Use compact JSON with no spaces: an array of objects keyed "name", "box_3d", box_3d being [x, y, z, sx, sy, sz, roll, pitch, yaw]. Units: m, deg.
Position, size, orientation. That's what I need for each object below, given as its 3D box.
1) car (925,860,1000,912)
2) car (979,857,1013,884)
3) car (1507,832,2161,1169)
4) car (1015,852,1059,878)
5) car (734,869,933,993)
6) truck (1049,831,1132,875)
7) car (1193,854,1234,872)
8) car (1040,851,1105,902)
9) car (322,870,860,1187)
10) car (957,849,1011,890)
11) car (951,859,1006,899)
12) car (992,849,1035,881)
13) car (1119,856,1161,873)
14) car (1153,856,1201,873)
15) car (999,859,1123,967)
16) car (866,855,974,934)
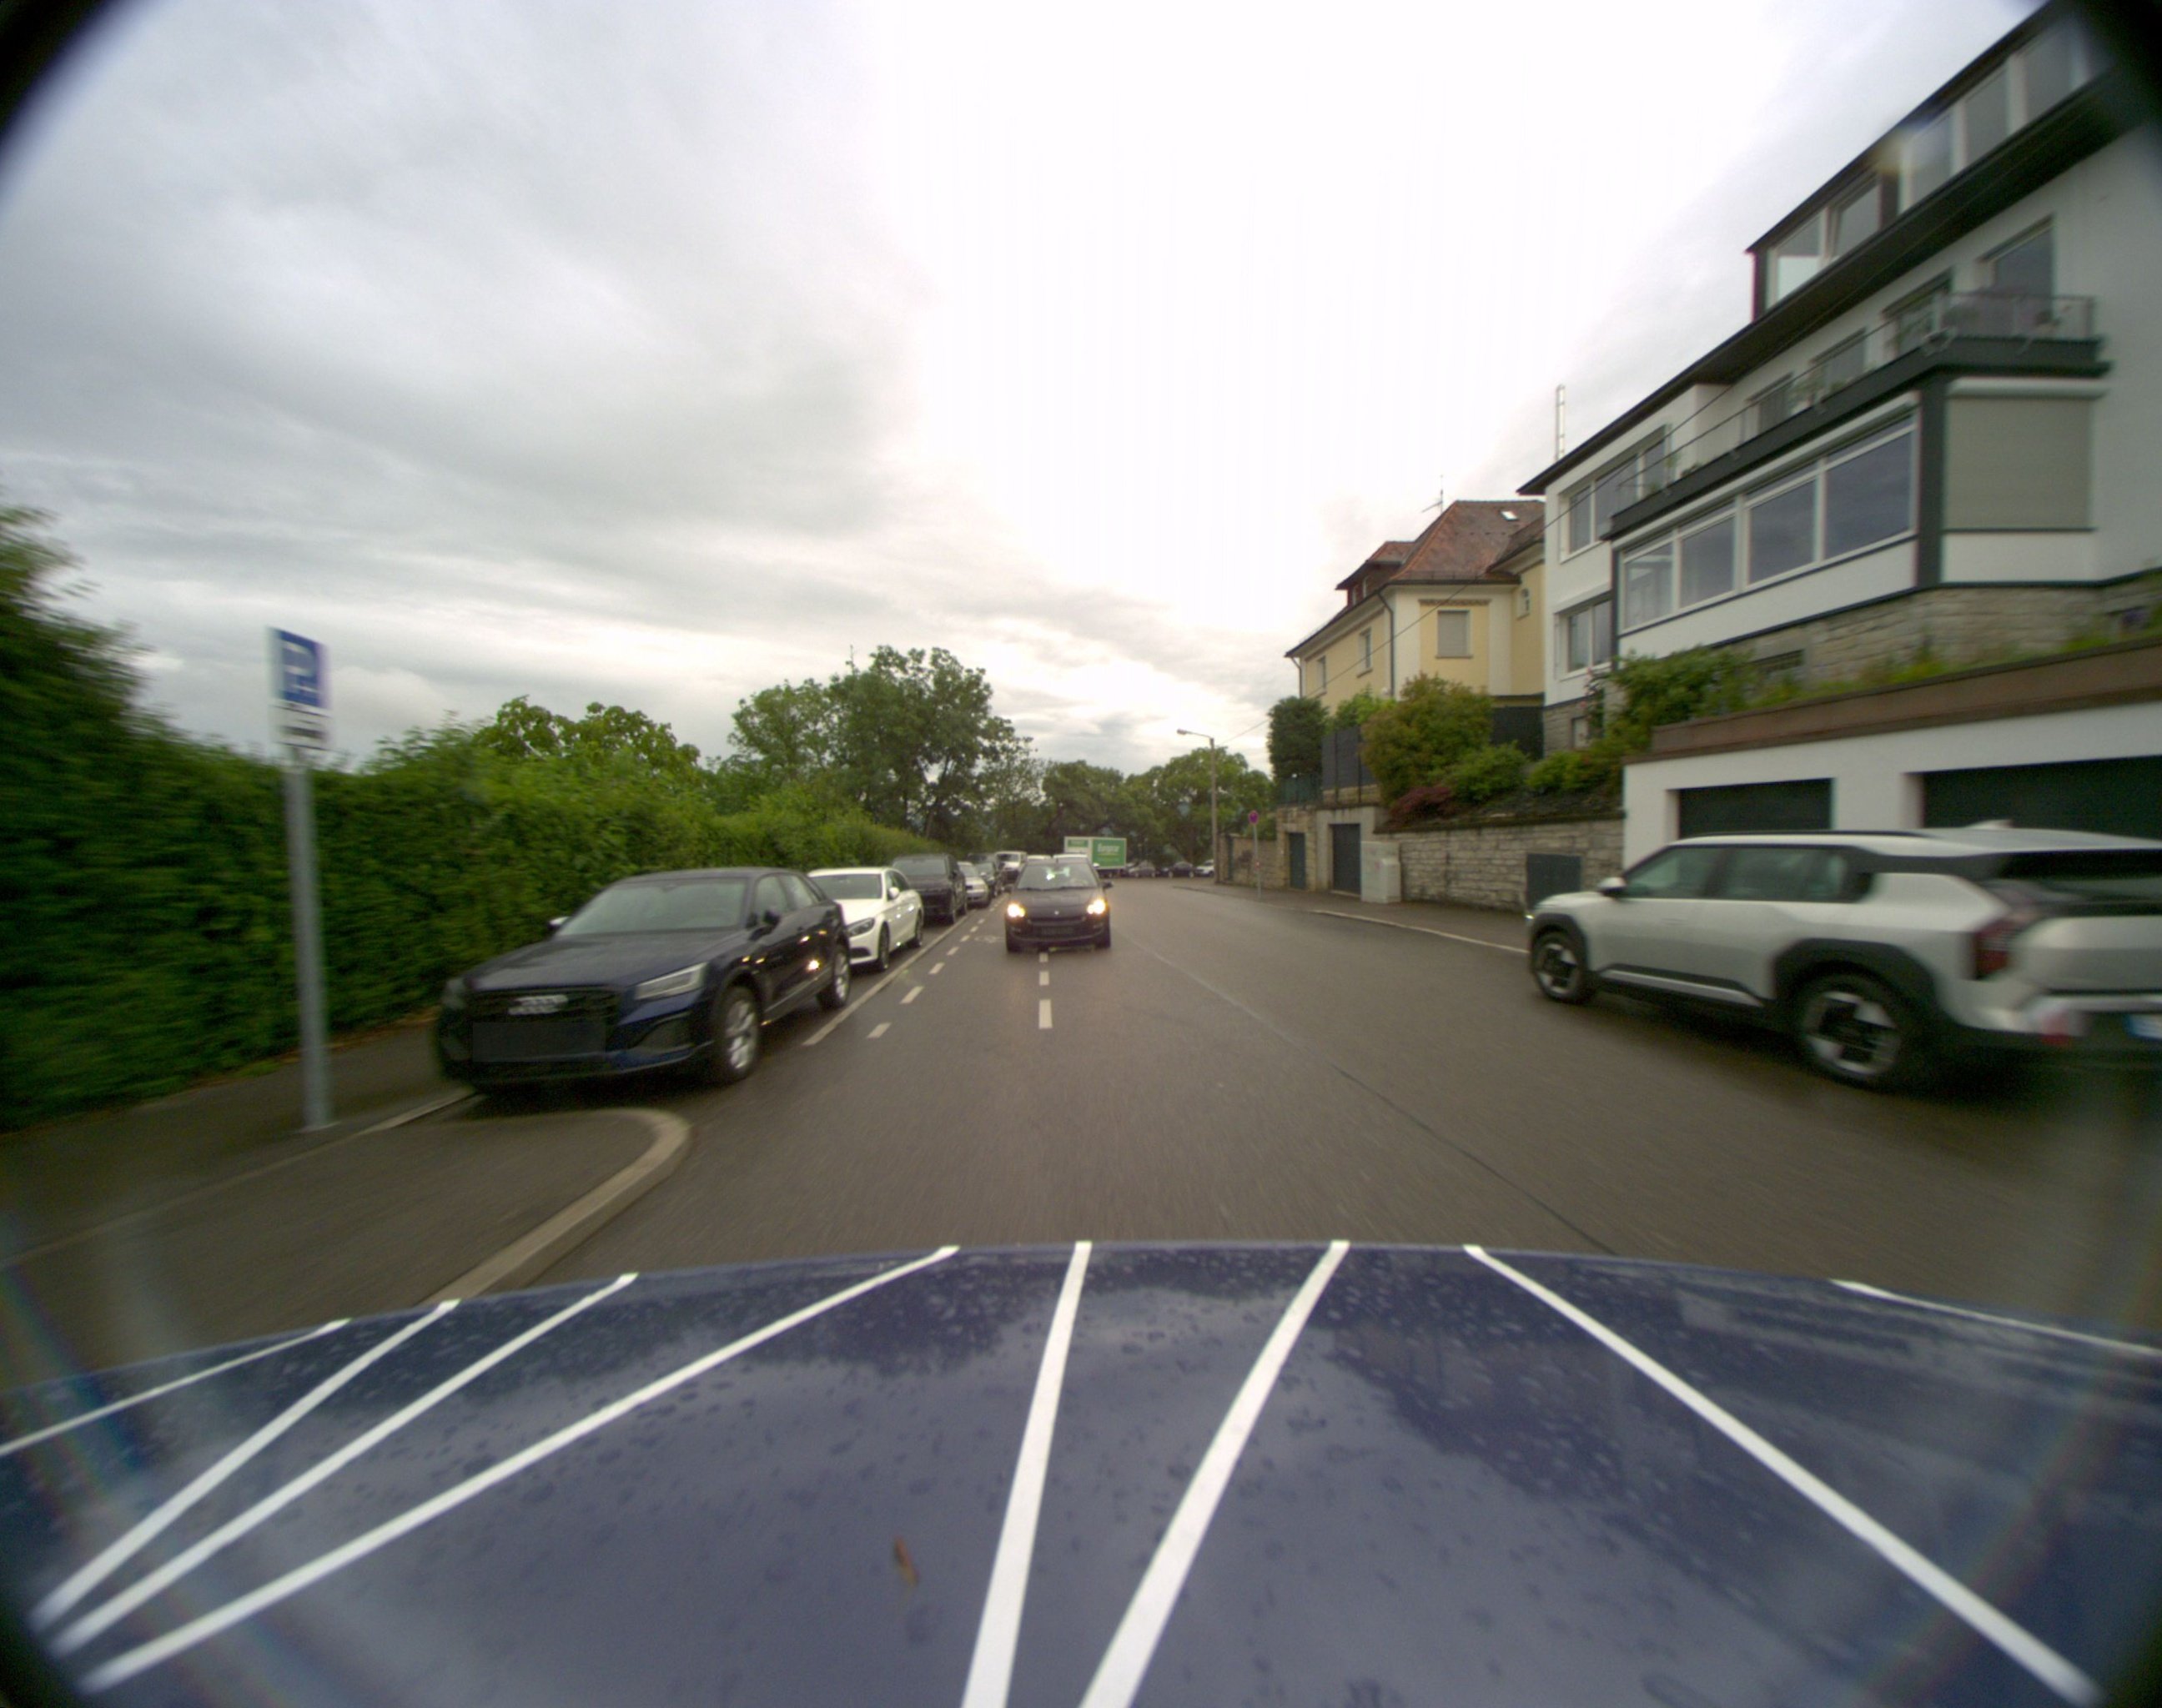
[{"name":"car","box_3d":[-3.921,0.967,24.504,1.806,1.432,4.636,-2,0,-16]},{"name":"car","box_3d":[-4.700,0.878,42.376,1.676,1.405,3.741,-1,0,-4]},{"name":"car","box_3d":[5.398,0.672,5.703,1.903,1.558,4.237,-1,0,-2]},{"name":"car","box_3d":[-3.066,0.747,54.074,1.862,1.760,4.384,-1,-1,14]},{"name":"car","box_3d":[-3.565,1.010,11.878,1.718,1.397,4.606,-3,0,-3]},{"name":"truck","box_3d":[0.998,-0.078,63.376,2.774,3.451,8.951,2,1,30]},{"name":"car","box_3d":[13.593,0.927,77.784,4.433,1.810,1.747,1,1,-41]},{"name":"car","box_3d":[-0.272,0.776,28.860,2.191,1.698,4.882,-2,0,1]},{"name":"car","box_3d":[-3.268,0.992,6.252,1.759,1.521,4.204,-3,1,-3]},{"name":"car","box_3d":[-4.565,0.721,36.298,2.032,1.772,4.898,-2,0,-2]},{"name":"car","box_3d":[-4.069,0.958,30.744,1.693,1.414,3.982,-2,1,-1]},{"name":"car","box_3d":[-4.220,0.648,48.283,1.864,1.936,4.810,0,0,5]},{"name":"car","box_3d":[5.441,0.912,69.888,1.734,1.495,4.144,2,1,41]},{"name":"car","box_3d":[9.353,0.998,73.889,4.905,1.533,1.860,1,0,-42]},{"name":"car","box_3d":[-0.415,0.892,13.488,1.784,1.477,4.404,-3,0,-3]},{"name":"car","box_3d":[-3.886,0.892,19.080,1.892,1.653,4.546,-3,0,-3]}]
